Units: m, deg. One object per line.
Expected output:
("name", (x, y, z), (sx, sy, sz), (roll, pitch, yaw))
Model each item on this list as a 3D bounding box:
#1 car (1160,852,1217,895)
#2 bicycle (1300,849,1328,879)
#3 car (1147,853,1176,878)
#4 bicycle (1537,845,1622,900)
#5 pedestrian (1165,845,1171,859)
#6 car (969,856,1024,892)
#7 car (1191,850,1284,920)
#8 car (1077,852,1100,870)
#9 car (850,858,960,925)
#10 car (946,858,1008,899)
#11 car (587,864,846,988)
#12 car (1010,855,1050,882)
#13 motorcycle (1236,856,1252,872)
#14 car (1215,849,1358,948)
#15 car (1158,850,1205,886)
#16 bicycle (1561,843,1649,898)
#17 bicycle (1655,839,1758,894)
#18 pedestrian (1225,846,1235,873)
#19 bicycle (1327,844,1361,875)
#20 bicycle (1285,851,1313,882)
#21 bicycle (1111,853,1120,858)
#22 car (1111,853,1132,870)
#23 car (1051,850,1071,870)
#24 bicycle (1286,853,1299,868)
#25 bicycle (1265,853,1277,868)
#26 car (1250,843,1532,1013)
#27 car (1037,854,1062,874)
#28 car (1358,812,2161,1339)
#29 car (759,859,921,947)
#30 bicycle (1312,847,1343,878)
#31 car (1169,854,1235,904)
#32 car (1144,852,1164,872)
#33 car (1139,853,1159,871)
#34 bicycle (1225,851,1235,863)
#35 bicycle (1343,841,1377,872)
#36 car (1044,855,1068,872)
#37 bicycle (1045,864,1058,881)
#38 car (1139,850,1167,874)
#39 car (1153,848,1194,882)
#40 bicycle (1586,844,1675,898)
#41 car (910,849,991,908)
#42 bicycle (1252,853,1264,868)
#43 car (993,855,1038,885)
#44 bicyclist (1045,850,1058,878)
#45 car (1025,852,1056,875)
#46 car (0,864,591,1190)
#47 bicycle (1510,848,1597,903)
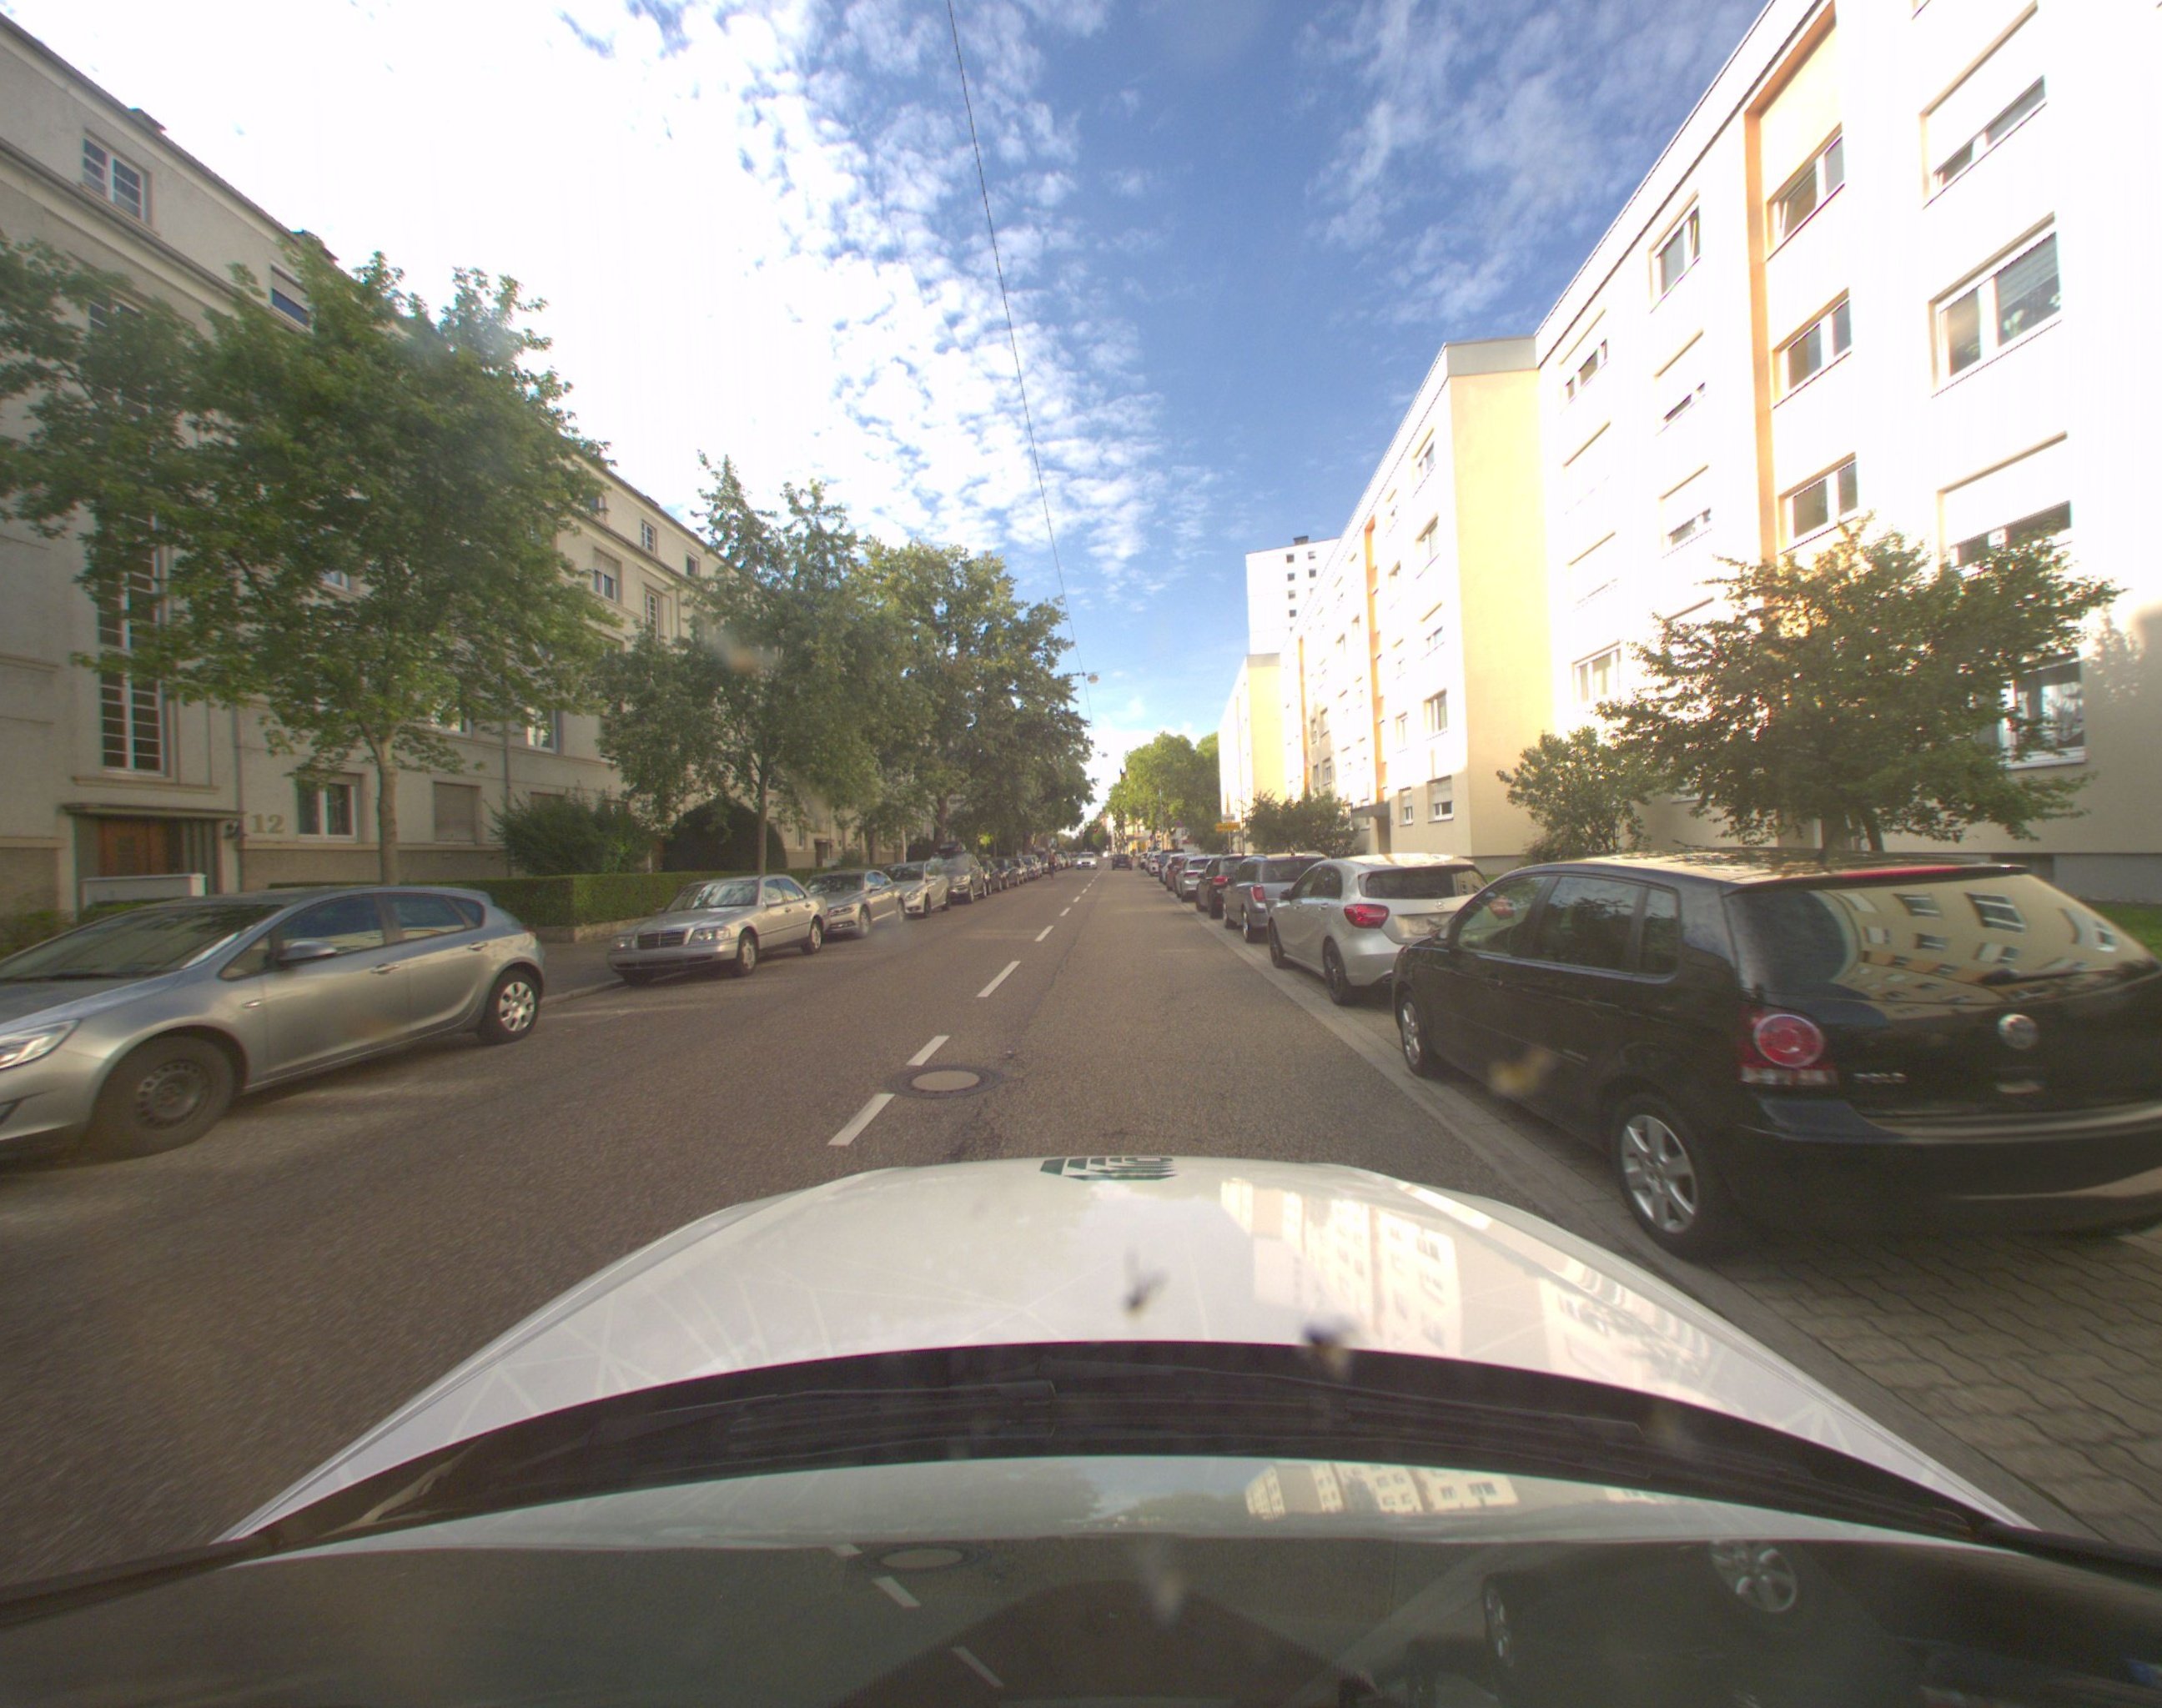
("car", (4.200, 0.723, 32.313), (1.722, 1.515, 4.192), (-3, 0, 1))
("bicycle", (10.272, 0.434, 36.025), (0.601, 1.291, 2.637), (-1, 0, 3))
("car", (5.205, 0.712, 53.114), (1.721, 1.487, 4.646), (-1, 0, 4))
("bicycle", (10.422, 0.369, 17.111), (0.499, 1.030, 2.097), (-5, 0, 2))
("pedestrian", (10.595, -0.250, 98.708), (0.650, 1.645, 0.743), (-1, 0, 2))
("car", (-4.032, 0.910, 39.761), (1.677, 1.480, 4.458), (-5, 0, 6))
("car", (3.791, 0.708, 20.353), (1.655, 1.491, 3.944), (-4, 0, 2))
("car", (0.679, 0.622, 74.898), (1.851, 1.528, 4.014), (-2, 0, 4))
("car", (-4.912, 0.990, 23.386), (1.847, 1.573, 4.464), (-3, 0, 4))
("car", (-4.381, 0.980, 34.916), (1.677, 1.480, 4.124), (-5, 0, 5))
("car", (-5.358, 0.955, 12.787), (1.731, 1.393, 4.668), (-5, 0, 2))
("car", (-3.058, 0.862, 49.819), (1.606, 1.468, 4.021), (-5, -1, 6))
("motorcycle", (10.833, 0.652, 54.190), (0.628, 1.045, 2.395), (-2, 0, 2))
("car", (3.612, 0.698, 15.042), (1.677, 1.485, 4.296), (-3, 0, 3))
("car", (4.634, 0.620, 37.964), (1.722, 1.461, 4.118), (-3, 0, 2))
("bicycle", (10.940, 0.327, 17.088), (0.499, 1.030, 2.070), (-5, 0, 2))
("bicycle", (12.893, 0.250, 16.874), (0.499, 1.030, 2.136), (-5, 0, 4))
("pedestrian", (9.699, 0.354, 52.962), (0.539, 1.721, 0.773), (-1, 0, 8))
("bicycle", (11.585, 0.230, 35.961), (0.723, 1.291, 2.637), (-3, 0, 3))
("bicycle", (9.639, 0.548, 36.023), (0.601, 1.291, 2.637), (-3, 0, 3))
("bicycle", (8.994, 0.365, 212.030), (2.023, 1.082, 0.618), (-2, 0, -11))
("car", (3.586, 0.602, 71.110), (1.744, 1.413, 4.005), (-1, 0, 4))
("car", (-2.039, 0.582, 83.497), (1.716, 1.882, 4.194), (-4, 0, 2))
("bicycle", (13.968, 0.442, 53.849), (0.457, 0.927, 1.517), (-3, 0, 2))
("bicycle", (12.523, 0.436, 53.771), (0.457, 0.927, 1.517), (-3, 0, 2))
("car", (3.279, 0.677, 9.560), (1.694, 1.463, 4.180), (-3, 0, 1))
("car", (-2.637, 0.795, 69.137), (1.693, 1.487, 3.851), (-4, 0, 4))
("car", (2.963, 0.646, 4.354), (1.677, 1.501, 3.875), (-3, 0, 2))
("car", (-5.155, 0.968, 18.241), (1.848, 1.486, 4.947), (-5, 0, 3))
("bicycle", (10.869, 0.376, 35.983), (0.593, 1.291, 2.637), (-5, 0, 3))
("car", (3.904, 0.762, 26.796), (1.655, 1.416, 4.061), (-4, 0, 2))
("car", (6.039, 0.670, 67.800), (1.544, 1.557, 3.471), (-1, 0, 3))
("car", (6.144, 0.706, 73.266), (1.682, 1.528, 4.243), (-1, 0, 5))
("bicycle", (13.418, 0.264, 73.381), (0.594, 1.115, 2.211), (-3, 0, 3))
("bicycle", (12.304, 0.112, 36.000), (0.723, 1.291, 2.637), (-1, 0, 3))
("car", (-2.361, 0.880, 78.061), (1.686, 1.493, 4.340), (-3, 0, 6))
("bicycle", (-1.742, 1.097, 48.302), (0.639, 0.923, 1.859), (-1, 0, 3))
("car", (5.186, 0.581, 59.001), (1.722, 1.580, 4.119), (-3, 0, 2))
("car", (4.805, 0.557, 42.803), (1.722, 1.649, 4.118), (-3, 0, 2))
("bicycle", (11.452, 0.342, 17.052), (0.499, 1.030, 2.027), (-5, 0, 2))
("car", (-4.555, 0.795, 29.237), (1.870, 1.793, 4.972), (-4, 0, 2))
("bicycle", (11.748, 0.421, 54.105), (0.457, 0.941, 1.517), (-3, 0, 2))
("car", (-3.577, 0.848, 45.196), (1.592, 1.418, 3.972), (-5, 0, 7))
("bicyclist", (-1.748, 0.584, 48.425), (0.638, 1.601, 0.991), (-1, 0, 3))
("car", (-3.168, 0.708, 64.477), (1.791, 1.668, 4.487), (-4, 0, 4))
("car", (-6.020, 0.894, 5.981), (1.849, 1.486, 4.685), (-3, 0, 1))
("bicycle", (9.828, 0.426, 17.026), (0.591, 1.030, 2.120), (-5, 0, 2))
